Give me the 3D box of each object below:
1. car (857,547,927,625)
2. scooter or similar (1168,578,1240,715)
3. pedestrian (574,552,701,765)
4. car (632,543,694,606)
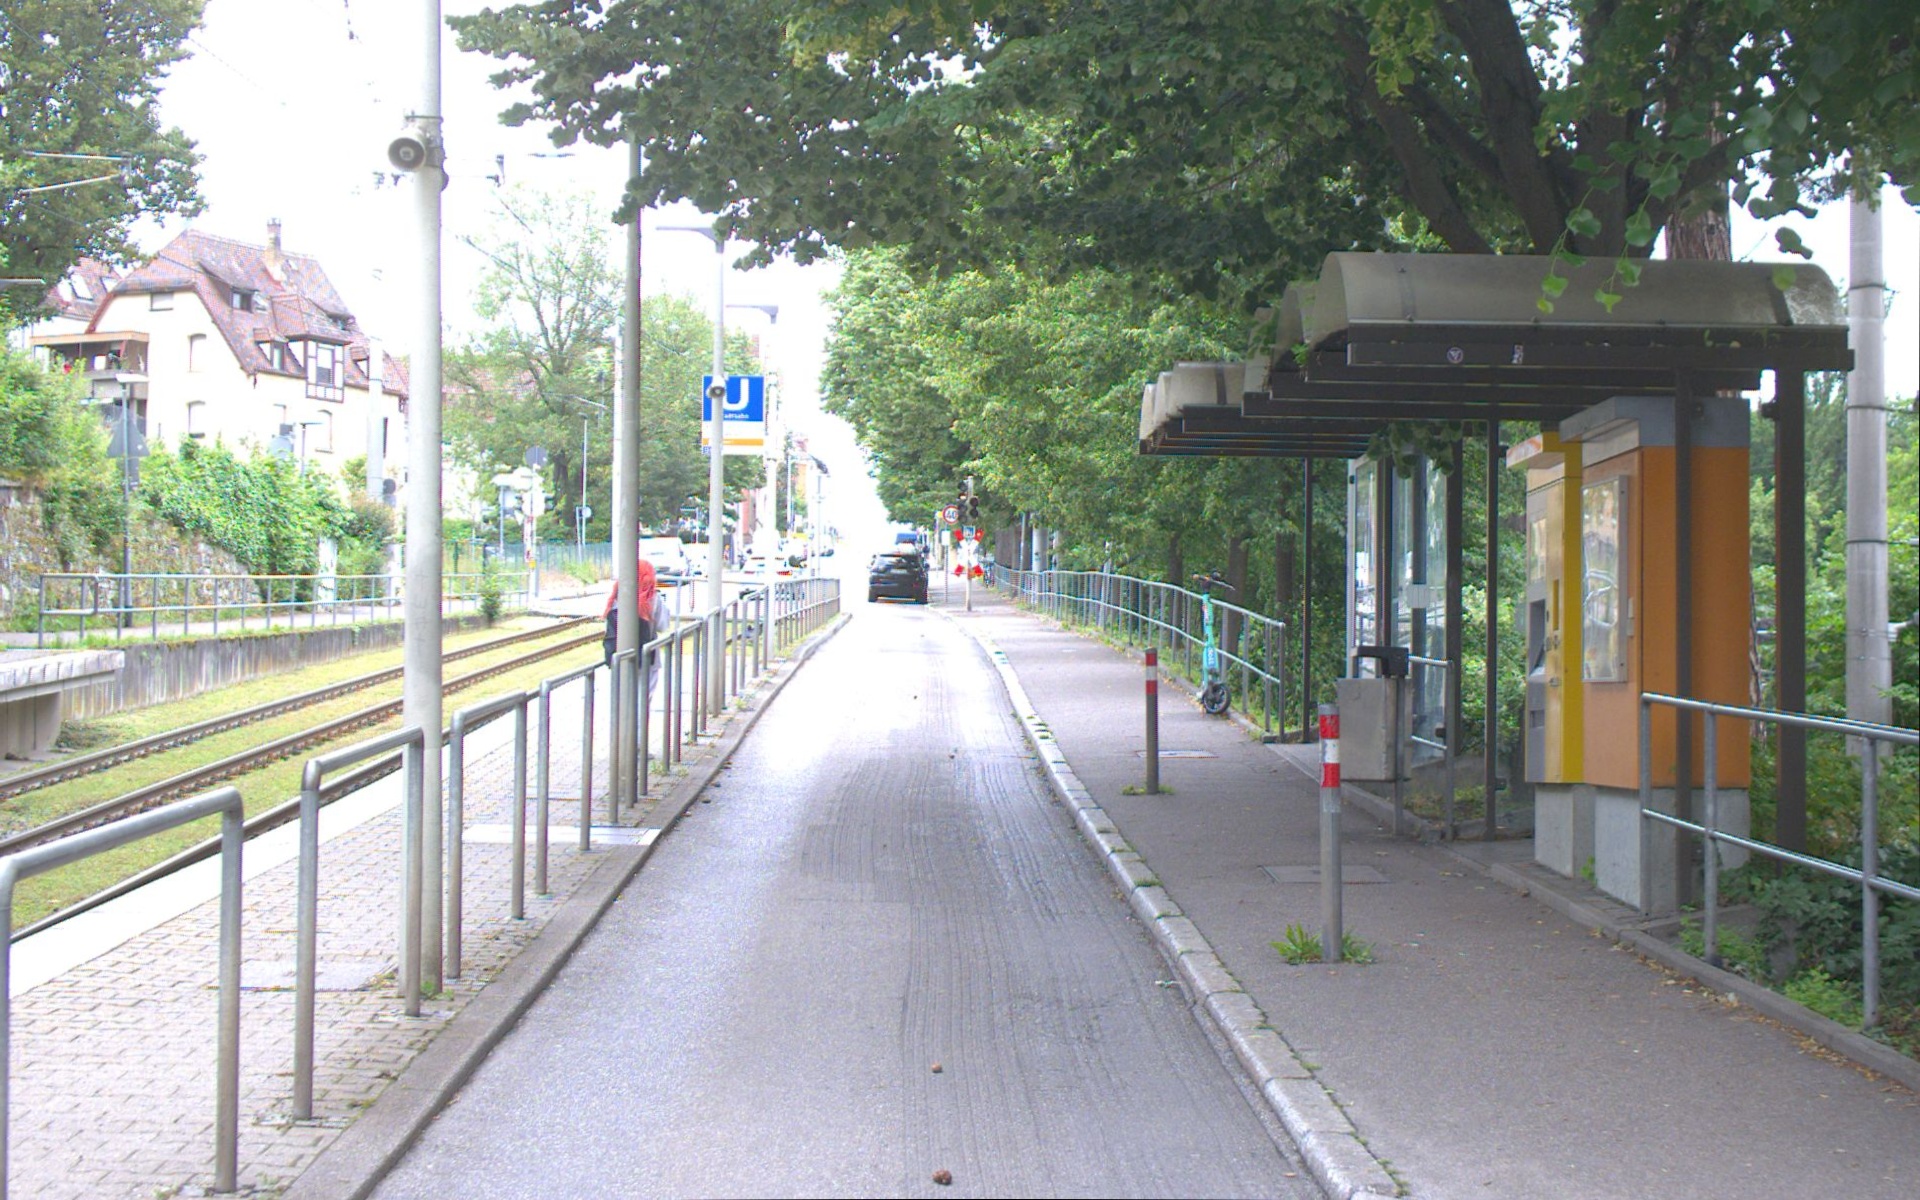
[{"bbox_3d":[-2.114,-0.426,106.683,1.993,2.138,4.000,4,-2,-1],"label":"car"},{"bbox_3d":[2.130,0.416,30.135,0.342,1.153,1.147,4,-2,-7],"label":"scooter or similar"},{"bbox_3d":[-2.246,0.397,23.988,0.742,1.404,0.747,4,2,-1],"label":"pedestrian"},{"bbox_3d":[-11.414,-0.968,132.333,1.993,2.138,4.000,4,-2,-1],"label":"car"}]
